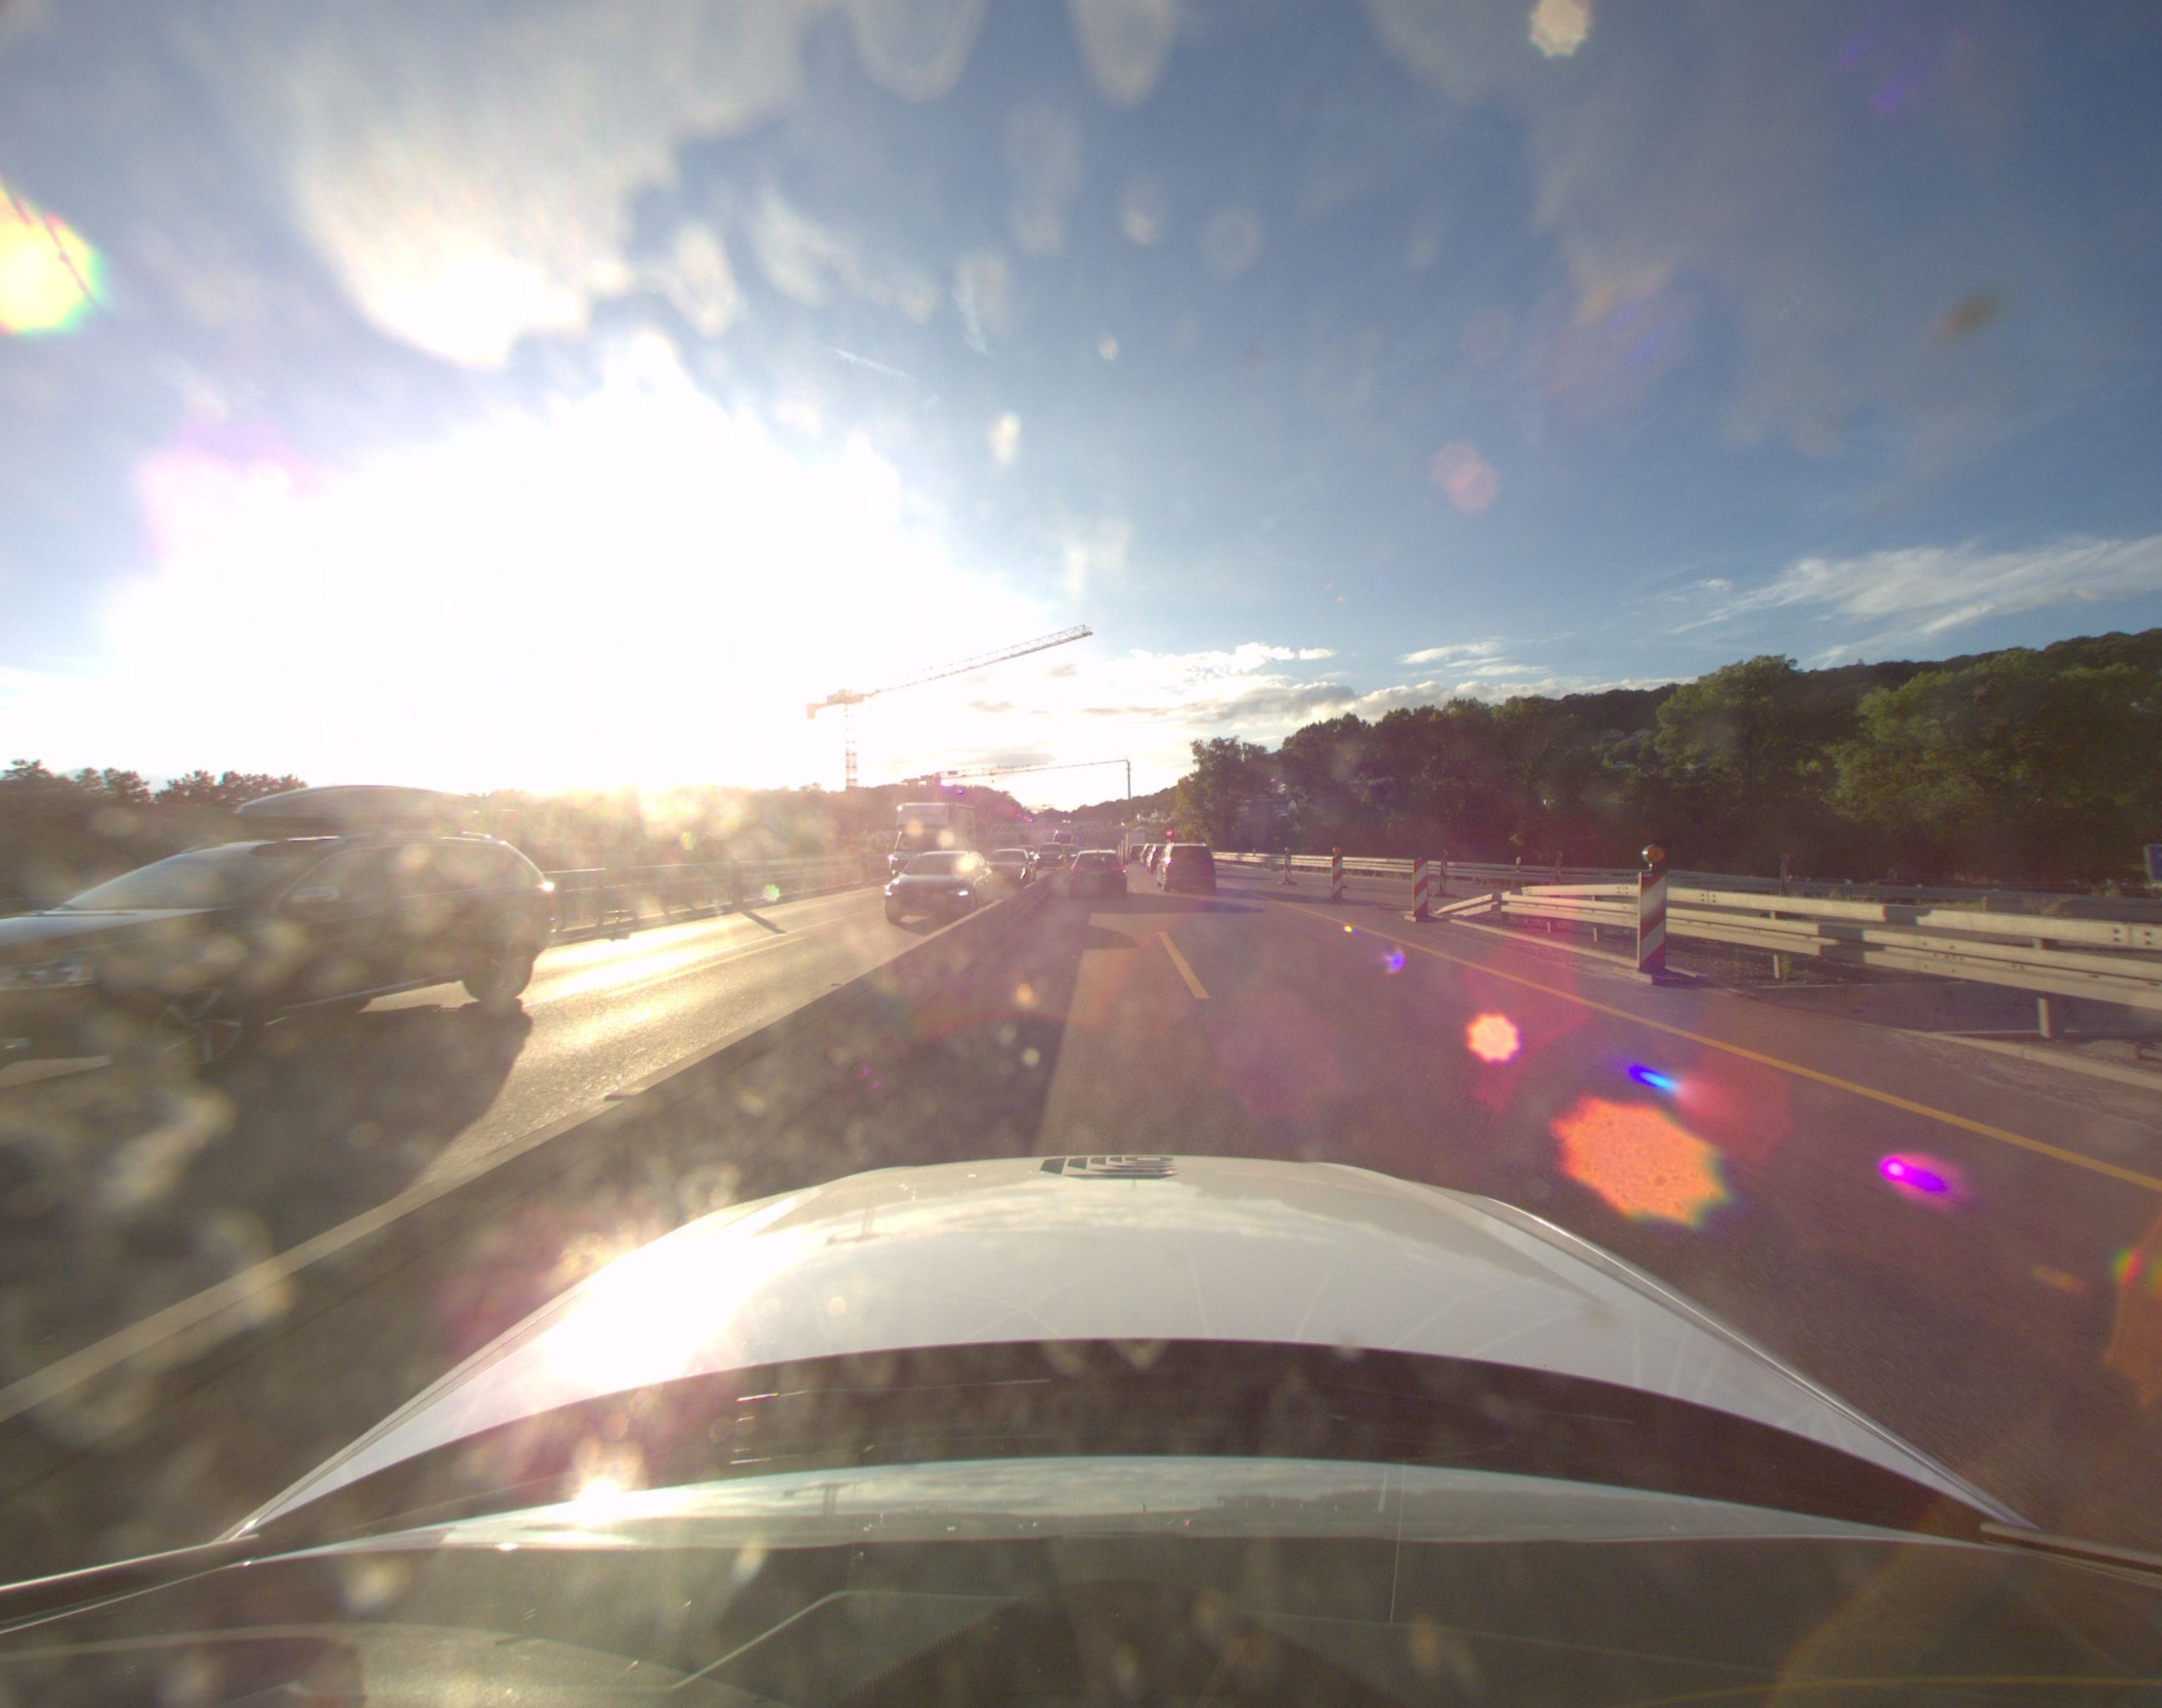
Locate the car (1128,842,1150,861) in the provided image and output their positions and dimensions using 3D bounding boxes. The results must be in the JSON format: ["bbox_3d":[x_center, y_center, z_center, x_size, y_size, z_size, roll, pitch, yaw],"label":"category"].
[{"bbox_3d":[5.155,-0.198,73.061,1.808,1.632,4.412,0,0,1],"label":"car"}]

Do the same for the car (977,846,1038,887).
[{"bbox_3d":[-2.780,0.418,31.802,1.809,1.463,4.707,-1,1,1],"label":"car"}]

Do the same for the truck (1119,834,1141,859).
[{"bbox_3d":[9.264,-1.487,155.084,3.876,4.498,15.274,0,1,2],"label":"truck"}]

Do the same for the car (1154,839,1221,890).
[{"bbox_3d":[3.661,0.310,28.712,1.806,1.615,4.527,1,1,1],"label":"car"}]

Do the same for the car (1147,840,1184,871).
[{"bbox_3d":[4.537,0.082,44.253,1.767,1.586,4.137,0,0,2],"label":"car"}]

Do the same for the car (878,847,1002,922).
[{"bbox_3d":[-3.037,0.580,18.547,1.808,1.463,4.708,-1,1,2],"label":"car"}]

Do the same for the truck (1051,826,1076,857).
[{"bbox_3d":[-2.267,-1.615,108.232,2.803,4.048,5.677,-1,0,3],"label":"truck"}]

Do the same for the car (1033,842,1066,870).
[{"bbox_3d":[-1.904,0.077,51.040,1.821,1.640,4.530,-1,0,1],"label":"car"}]

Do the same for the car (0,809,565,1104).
[{"bbox_3d":[-6.981,0.621,7.109,1.986,1.764,4.443,0,0,2],"label":"car"}]

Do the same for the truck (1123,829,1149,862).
[{"bbox_3d":[7.901,-1.418,118.463,3.372,4.497,15.278,0,2,2],"label":"truck"}]

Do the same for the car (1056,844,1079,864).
[{"bbox_3d":[-1.100,0.021,66.974,1.737,1.583,4.706,0,0,1],"label":"car"}]

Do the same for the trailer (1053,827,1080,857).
[{"bbox_3d":[-1.902,-1.616,115.106,2.803,4.050,14.031,-1,0,3],"label":"trailer"}]

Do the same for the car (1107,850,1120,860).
[{"bbox_3d":[4.621,0.140,116.182,1.856,1.420,4.002,0,0,2],"label":"car"}]

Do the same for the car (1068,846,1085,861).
[{"bbox_3d":[-0.449,-0.008,86.238,1.761,1.535,4.000,0,0,0],"label":"car"}]

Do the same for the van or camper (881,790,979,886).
[{"bbox_3d":[-6.029,-0.633,33.776,2.448,3.498,7.416,-1,1,2],"label":"van or camper"}]

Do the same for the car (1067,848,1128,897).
[{"bbox_3d":[0.502,0.518,25.519,1.764,1.390,4.000,0,1,0],"label":"car"}]

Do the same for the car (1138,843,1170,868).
[{"bbox_3d":[5.054,0.133,56.834,1.869,1.599,4.966,-1,-1,1],"label":"car"}]

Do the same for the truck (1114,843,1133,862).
[{"bbox_3d":[10.269,-0.360,199.045,3.878,4.498,13.846,0,1,0],"label":"truck"}]
